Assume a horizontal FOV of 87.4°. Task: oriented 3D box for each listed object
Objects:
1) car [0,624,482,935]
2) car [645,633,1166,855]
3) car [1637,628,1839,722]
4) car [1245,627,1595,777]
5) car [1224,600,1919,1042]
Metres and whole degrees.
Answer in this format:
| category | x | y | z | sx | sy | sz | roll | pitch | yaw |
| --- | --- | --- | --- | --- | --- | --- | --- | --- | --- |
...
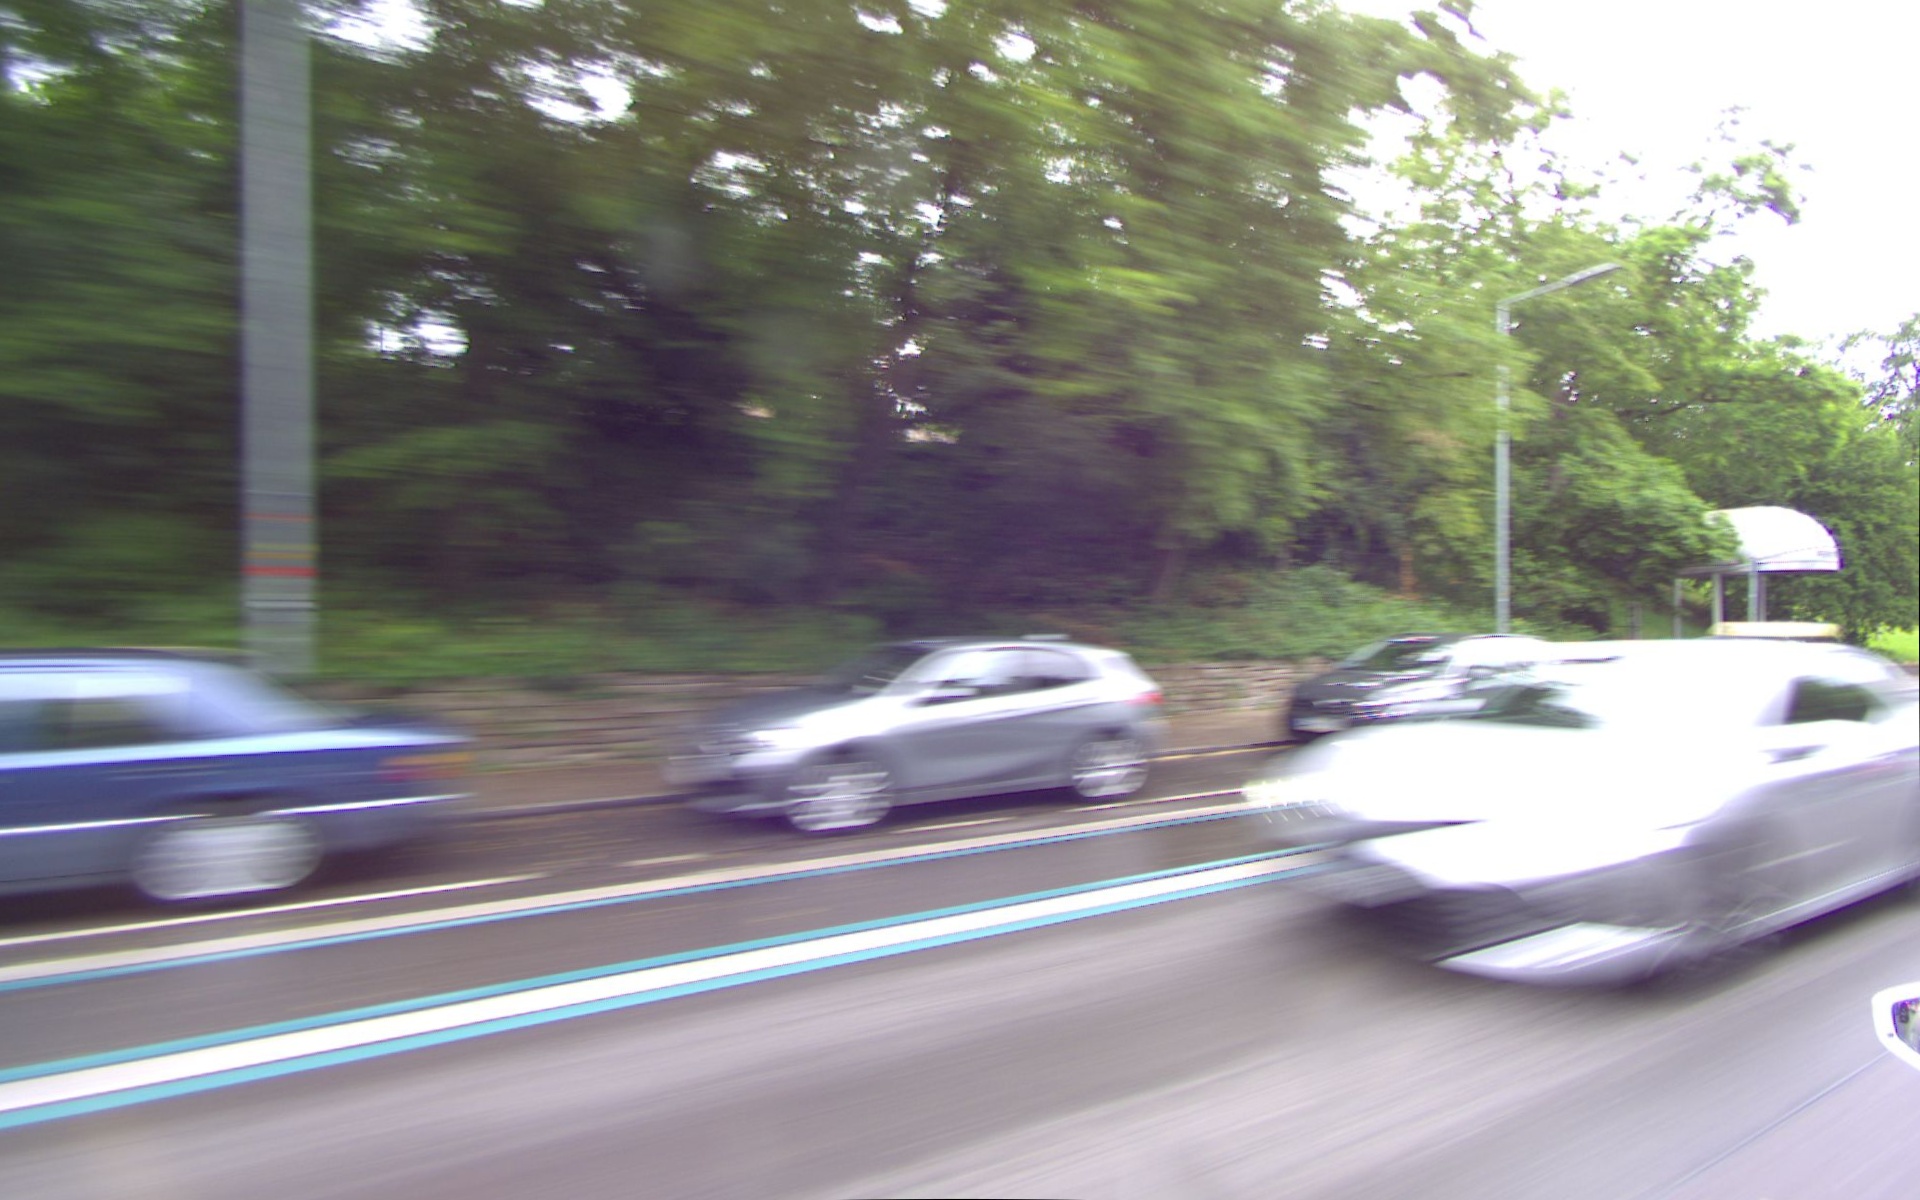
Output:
| category | x | y | z | sx | sy | sz | roll | pitch | yaw |
| --- | --- | --- | --- | --- | --- | --- | --- | --- | --- |
| car | -5.503 | 0.922 | 5.712 | 4.845 | 1.492 | 1.972 | 0 | 0 | -33 |
| car | -0.378 | 1.049 | 8.773 | 4.248 | 1.442 | 1.774 | 0 | -1 | -32 |
| car | 13.887 | 1.256 | 17.879 | 3.950 | 1.477 | 1.661 | 1 | -1 | -33 |
| car | 5.905 | 1.125 | 12.678 | 4.708 | 1.482 | 1.943 | 0 | 0 | -35 |
| car | 3.816 | 0.860 | 5.649 | 4.569 | 1.581 | 1.911 | 1 | -2 | -32 |
